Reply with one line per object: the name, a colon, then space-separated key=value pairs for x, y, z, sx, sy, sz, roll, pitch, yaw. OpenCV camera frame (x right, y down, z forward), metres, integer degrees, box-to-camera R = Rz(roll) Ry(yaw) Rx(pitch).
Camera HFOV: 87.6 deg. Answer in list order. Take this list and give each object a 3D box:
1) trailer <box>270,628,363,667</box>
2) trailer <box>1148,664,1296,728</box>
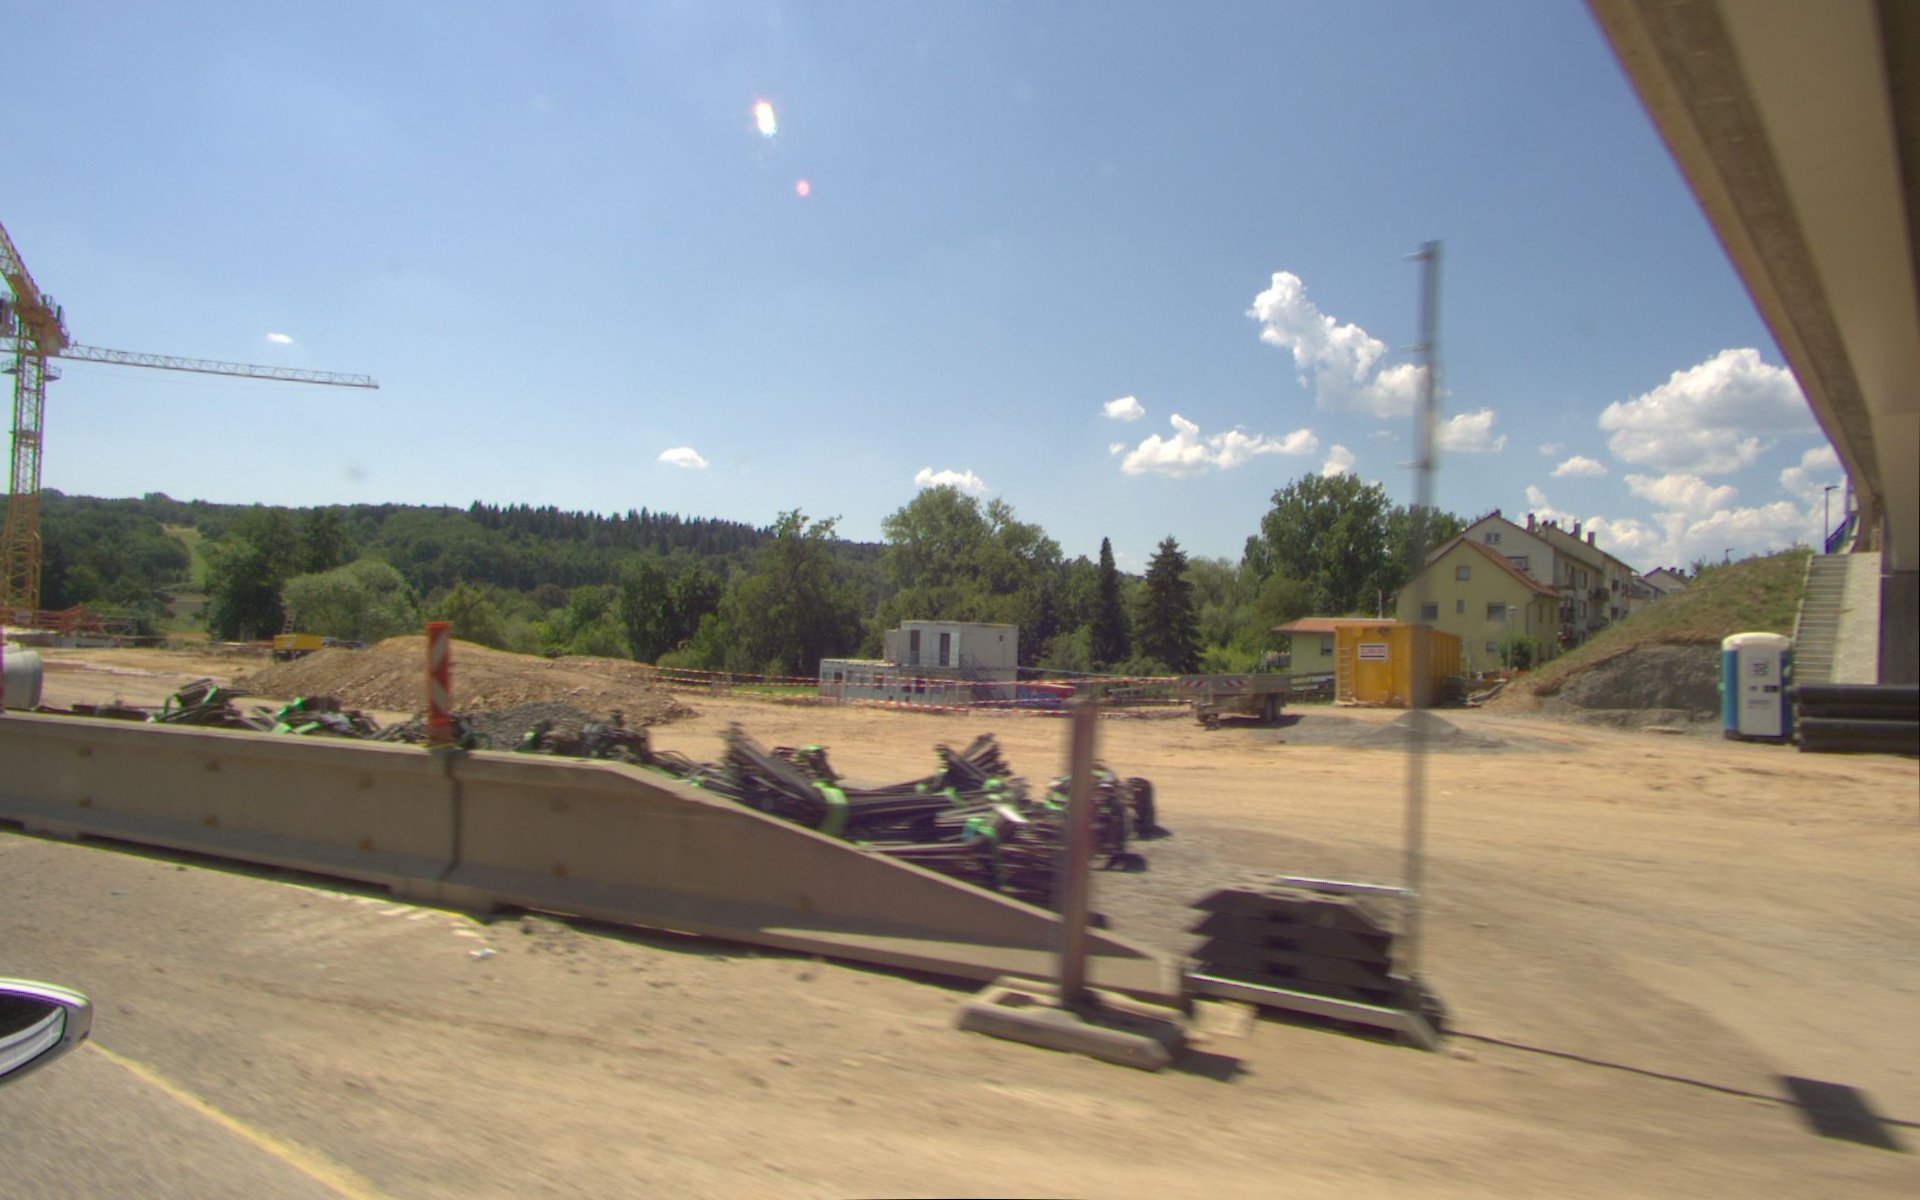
trailer: x=-26.328 y=1.933 z=40.967 sx=3.768 sy=1.504 sz=1.623 roll=0 pitch=-3 yaw=30
trailer: x=6.280 y=2.187 z=23.579 sx=2.027 sy=1.234 sz=4.705 roll=-2 pitch=-3 yaw=32
